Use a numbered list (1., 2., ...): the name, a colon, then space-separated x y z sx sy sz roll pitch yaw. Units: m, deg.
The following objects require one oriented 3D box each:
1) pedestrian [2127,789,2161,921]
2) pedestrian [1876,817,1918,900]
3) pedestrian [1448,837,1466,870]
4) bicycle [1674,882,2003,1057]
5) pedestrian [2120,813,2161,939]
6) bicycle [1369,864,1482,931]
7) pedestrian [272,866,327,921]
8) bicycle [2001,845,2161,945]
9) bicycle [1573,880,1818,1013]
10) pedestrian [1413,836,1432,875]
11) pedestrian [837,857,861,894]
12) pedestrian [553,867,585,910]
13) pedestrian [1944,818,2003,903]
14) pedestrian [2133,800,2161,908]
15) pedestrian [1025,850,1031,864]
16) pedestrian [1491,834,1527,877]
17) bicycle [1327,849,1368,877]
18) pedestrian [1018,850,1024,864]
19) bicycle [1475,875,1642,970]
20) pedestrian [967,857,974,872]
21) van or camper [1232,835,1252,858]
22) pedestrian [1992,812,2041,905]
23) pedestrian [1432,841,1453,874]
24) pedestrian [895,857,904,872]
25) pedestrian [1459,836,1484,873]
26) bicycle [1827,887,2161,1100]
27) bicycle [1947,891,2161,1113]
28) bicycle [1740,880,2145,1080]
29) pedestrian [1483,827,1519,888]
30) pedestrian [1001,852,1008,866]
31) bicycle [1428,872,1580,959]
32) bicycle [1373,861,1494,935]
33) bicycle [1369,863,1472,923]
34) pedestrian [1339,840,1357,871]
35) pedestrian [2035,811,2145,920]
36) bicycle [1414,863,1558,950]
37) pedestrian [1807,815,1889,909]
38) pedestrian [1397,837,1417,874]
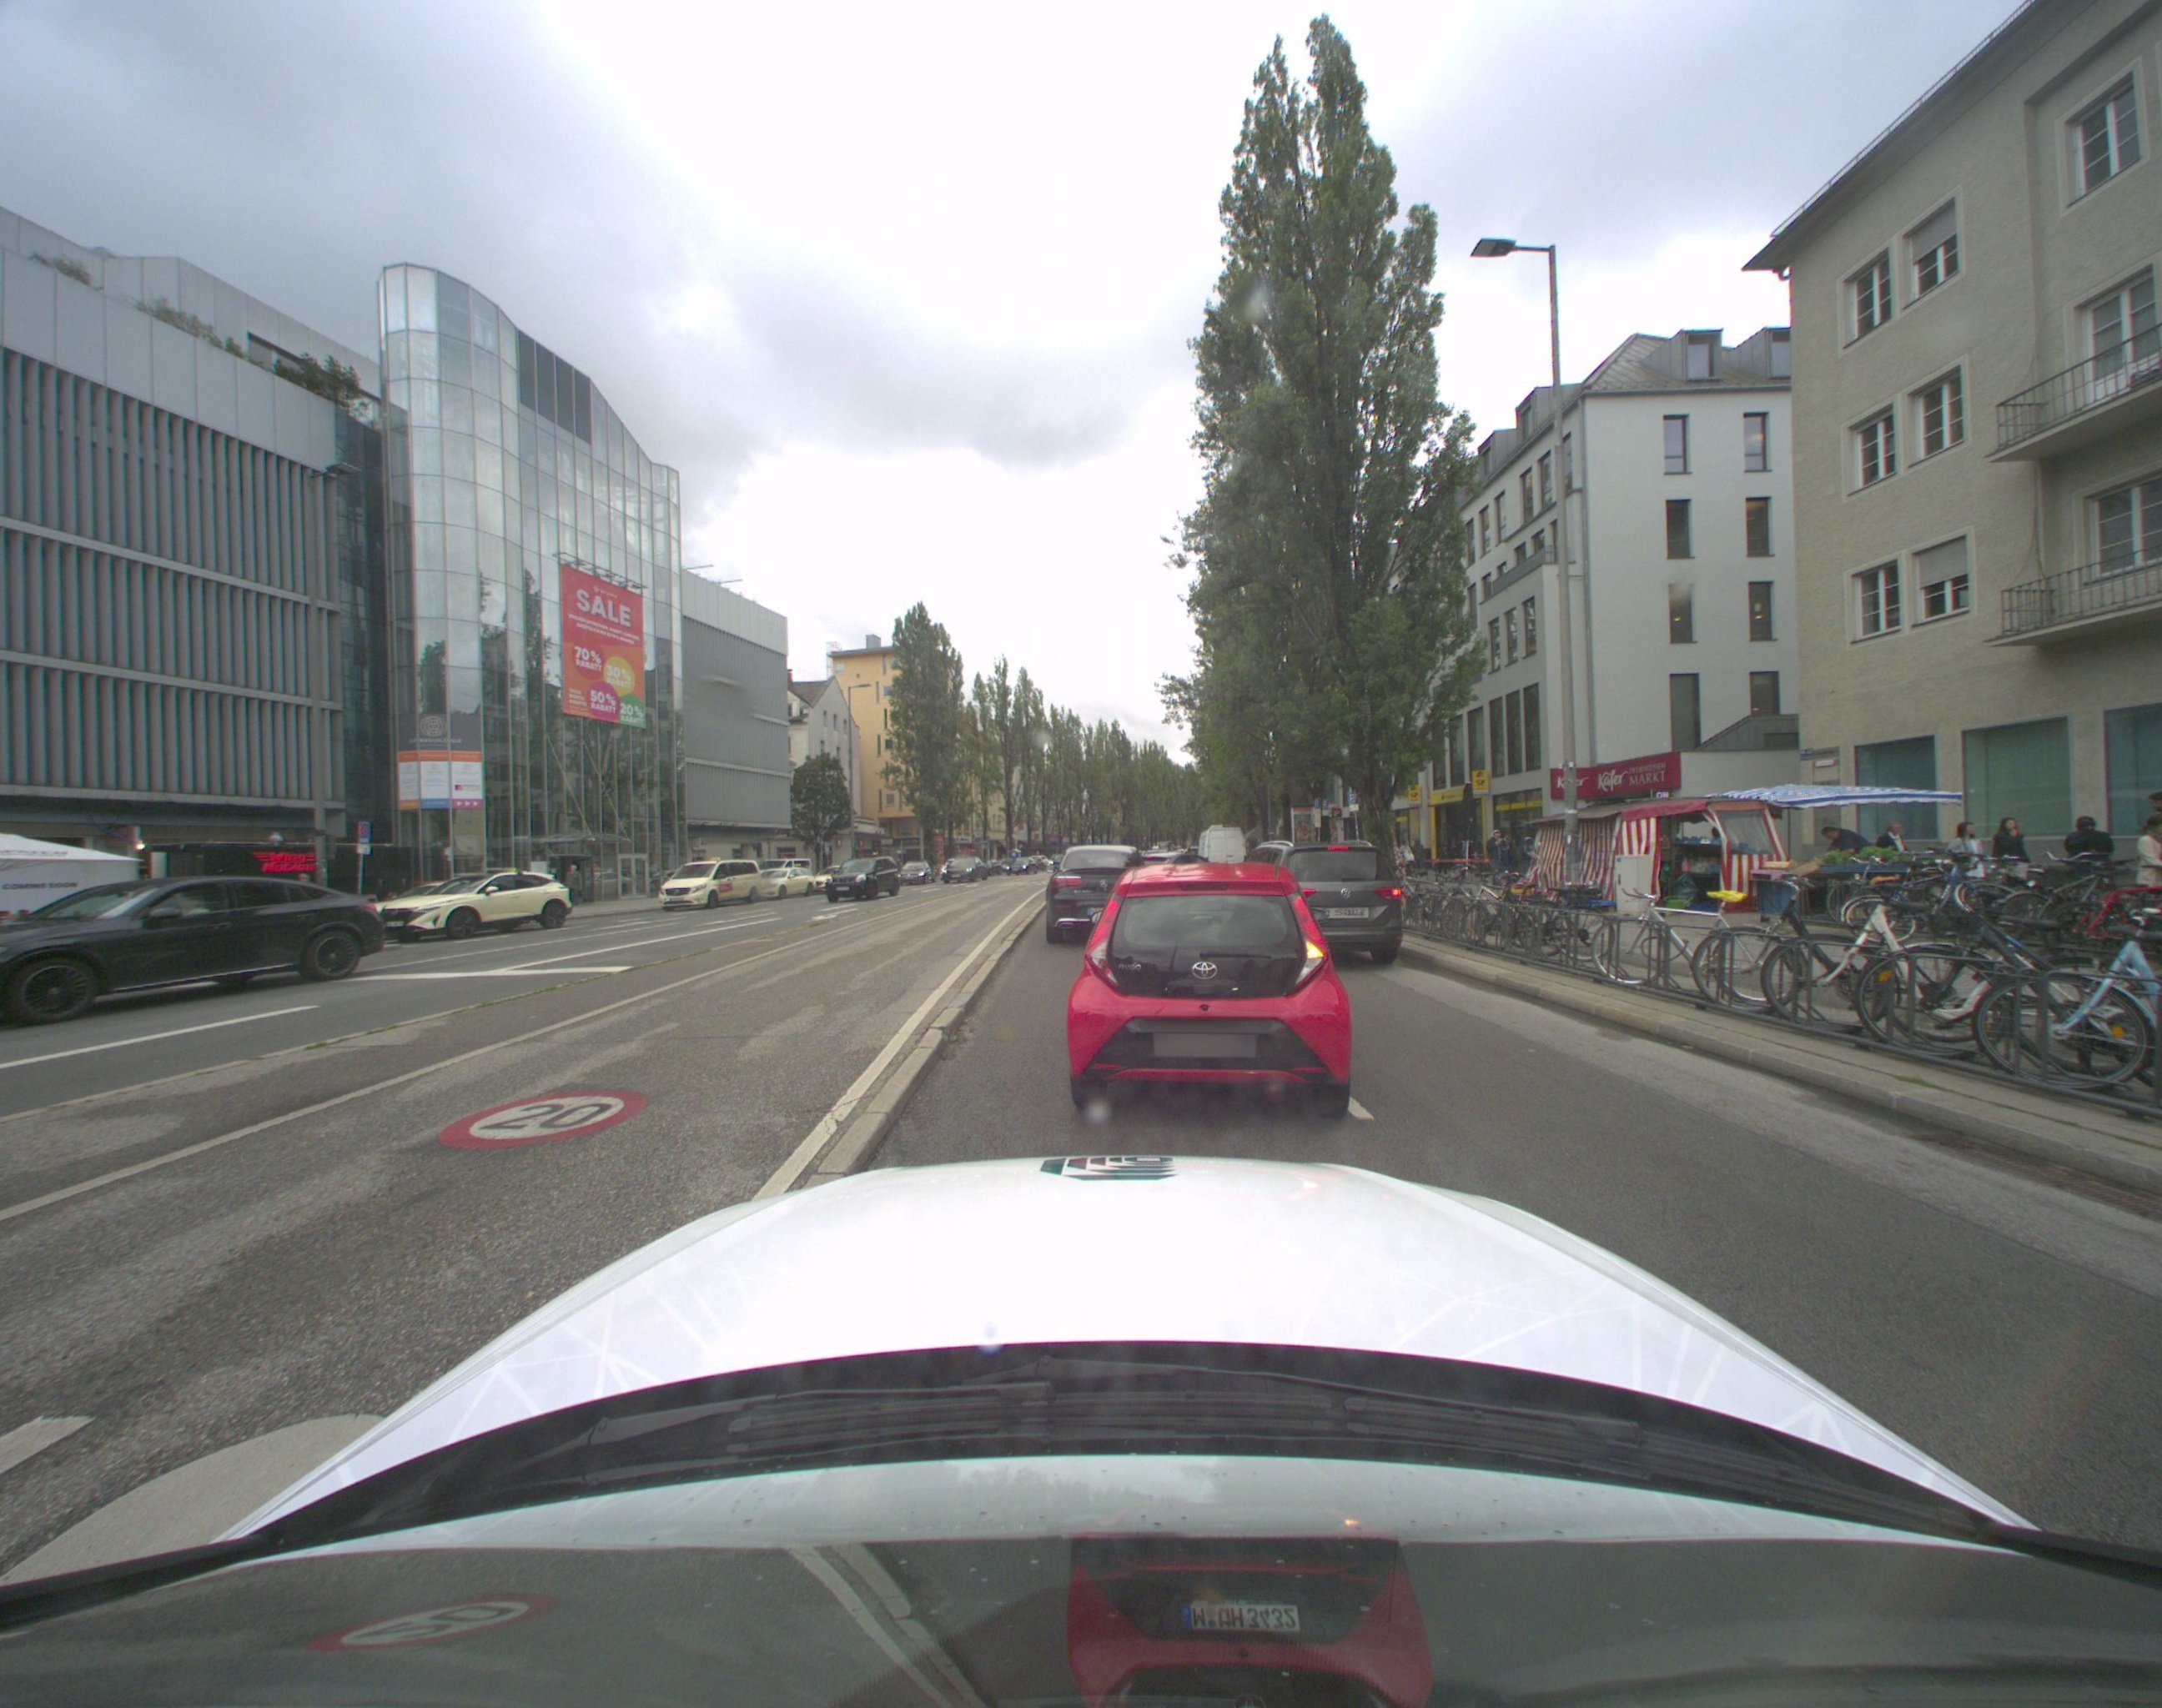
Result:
1. pedestrian: 15.326 0.009 11.300 0.716 1.829 0.726 -2 0 -14
2. pedestrian: 16.686 0.089 16.660 0.543 1.674 0.499 0 -1 -35
3. pedestrian: 19.106 -0.049 41.388 0.684 1.649 0.803 -2 0 29
4. bicycle: 5.721 0.809 6.278 0.400 1.059 1.780 0 2 -44
5. pedestrian: 13.857 0.261 10.410 0.662 1.582 0.533 -2 0 -24
6. bicycle: 6.086 0.740 14.470 1.779 1.054 0.369 3 2 39
7. pedestrian: -23.218 1.164 24.208 0.726 1.545 0.902 -2 0 14
8. bicycle: 12.125 0.485 9.702 1.619 1.103 0.411 -3 0 9
9. bicycle: 5.718 0.813 7.682 0.388 1.010 1.780 0 2 -44
10. pedestrian: 15.222 0.056 36.333 0.576 1.701 0.598 -3 0 9
11. pedestrian: -12.226 1.128 42.996 0.778 1.867 0.852 -2 0 31
12. pedestrian: -22.151 1.502 35.243 0.783 1.805 0.821 -2 0 13
13. pedestrian: 16.442 0.112 15.016 0.557 1.540 0.466 0 -1 1
14. pedestrian: 15.998 -0.016 11.921 0.546 1.565 0.658 -2 0 37
15. pedestrian: -7.582 0.417 116.241 0.634 1.862 0.650 -2 0 13
16. pedestrian: 16.567 0.053 31.529 0.797 1.637 1.023 -2 0 1
17. bicycle: 11.517 0.400 35.204 1.616 1.160 0.708 -1 0 14
18. pedestrian: -8.506 0.429 116.287 0.634 1.862 0.650 -2 0 13
19. bicycle: 6.045 0.833 10.402 0.388 1.010 1.780 0 2 -44
20. pedestrian: -12.856 1.192 95.034 0.535 1.747 0.758 -1 0 13
21. van or camper: 23.649 -1.088 119.592 2.442 3.112 4.734 -3 0 15
22. pedestrian: 17.161 0.086 14.944 0.528 1.673 0.468 0 -1 -30
23. pedestrian: 16.148 0.150 36.361 0.641 1.476 0.764 -1 -1 39
24. pedestrian: -17.489 1.043 78.521 0.630 1.434 0.778 -2 0 0
25. pedestrian: 17.330 0.025 36.133 0.688 1.585 0.773 -2 0 1
26. bicycle: 5.740 0.793 4.876 0.400 1.059 1.830 0 2 -44
27. bicycle: 5.747 0.787 4.121 0.400 1.059 1.830 0 2 -44
28. bicycle: 5.744 0.768 5.593 0.400 1.059 1.830 0 2 -44
29. pedestrian: 12.543 0.115 24.347 0.789 1.795 0.573 0 -1 7
30. pedestrian: -10.023 0.659 106.791 0.634 1.700 0.650 -2 0 13
31. bicycle: 5.773 0.806 11.202 1.779 1.010 0.388 3 2 43
32. bicycle: 5.965 0.716 13.850 1.779 1.105 0.550 3 2 39
33. bicycle: 6.752 0.748 16.229 1.779 1.054 0.550 3 2 39
34. pedestrian: 15.305 0.081 46.661 0.712 1.724 0.745 -3 0 38
35. pedestrian: 14.872 0.165 12.029 0.674 1.528 0.730 -2 0 2
36. bicycle: 5.870 0.723 11.868 1.779 1.105 0.550 3 2 39
37. pedestrian: 14.234 0.150 15.125 0.791 1.673 0.729 -2 0 0
38. pedestrian: 14.449 0.069 36.106 0.638 1.583 0.636 -3 0 9
